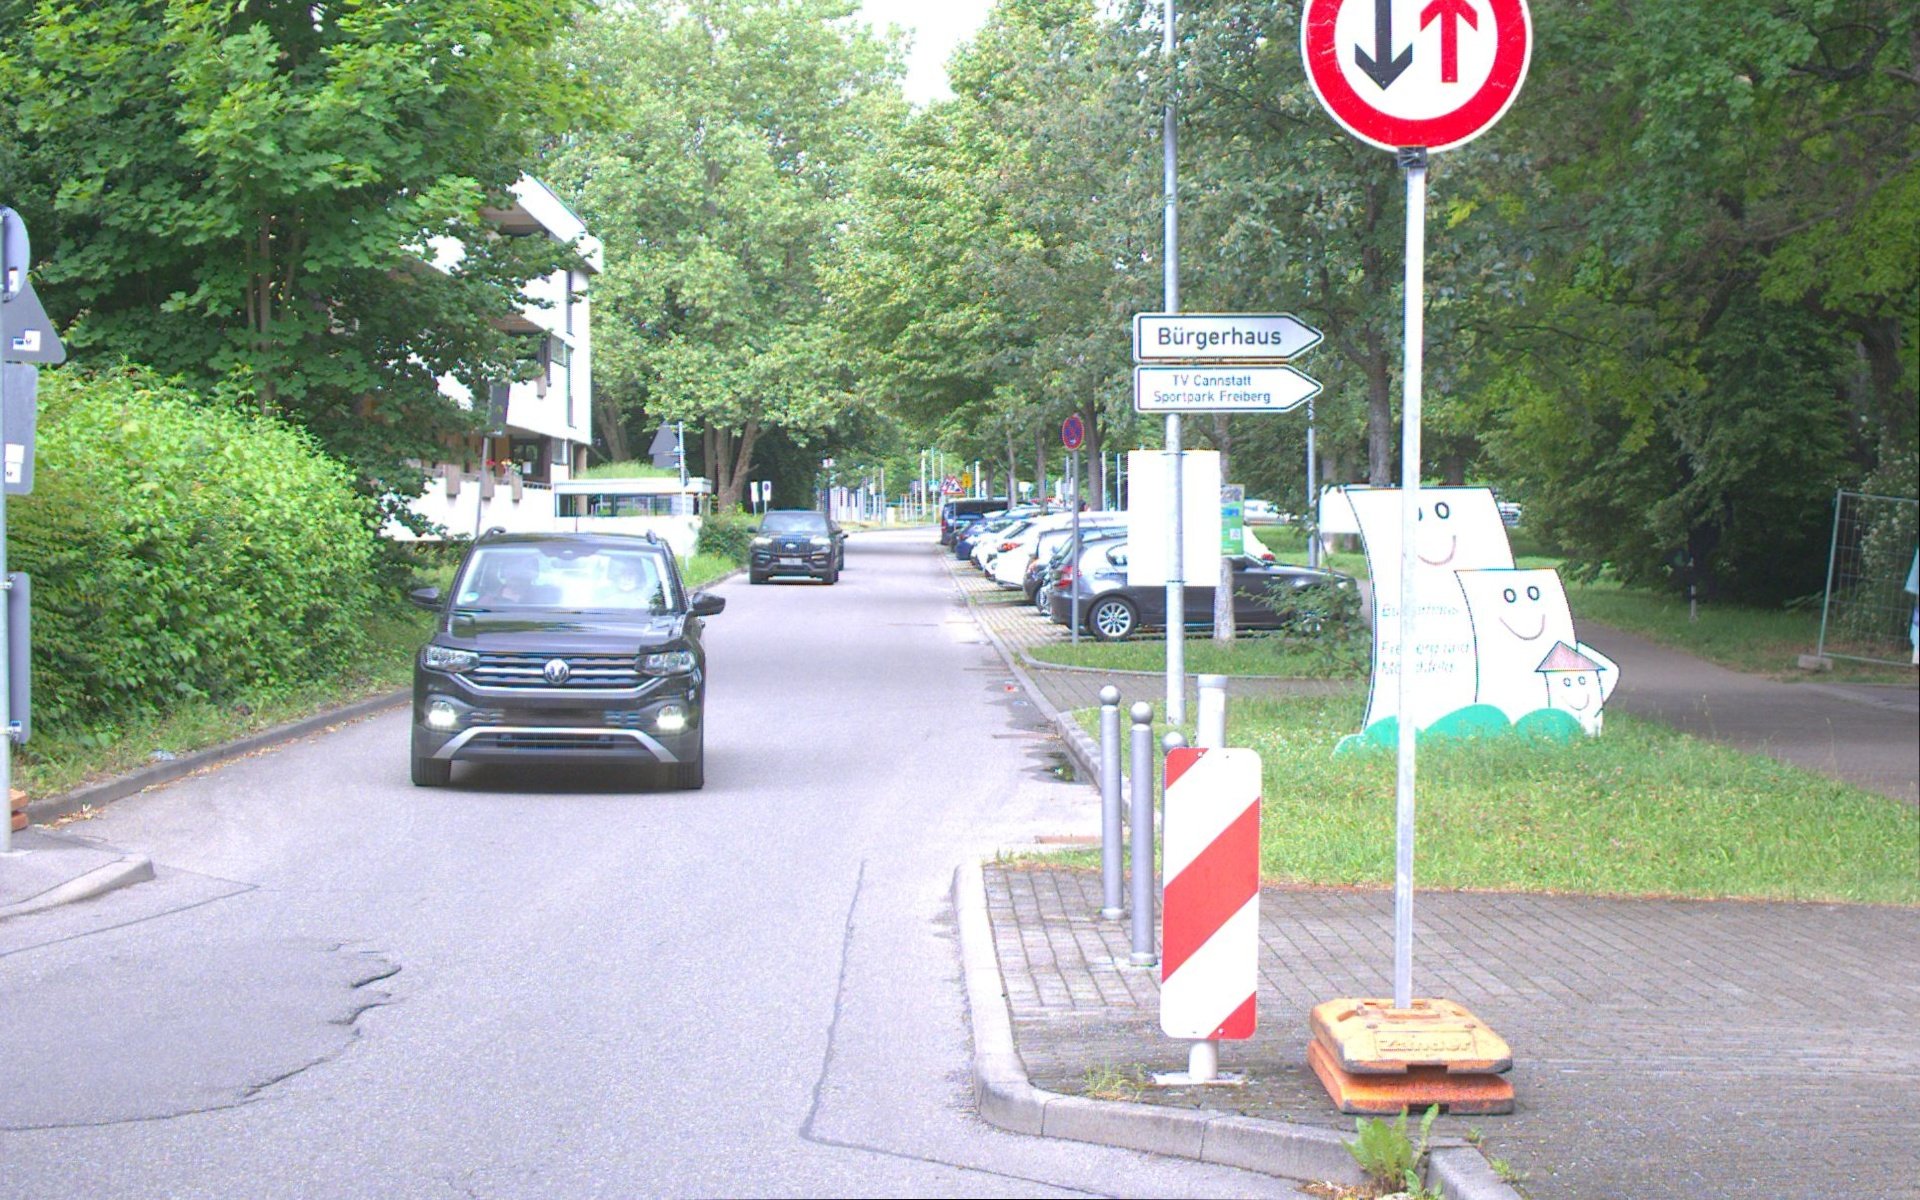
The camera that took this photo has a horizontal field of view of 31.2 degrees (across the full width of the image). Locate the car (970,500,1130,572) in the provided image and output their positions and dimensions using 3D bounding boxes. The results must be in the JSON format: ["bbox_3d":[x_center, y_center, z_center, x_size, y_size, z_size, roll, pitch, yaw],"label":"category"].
[{"bbox_3d":[2.414,-1.738,92.977,4.062,1.681,1.823,-4,1,-4],"label":"car"}]

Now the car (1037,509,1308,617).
[{"bbox_3d":[3.295,-0.598,53.881,4.063,1.563,1.823,-2,1,-1],"label":"car"}]

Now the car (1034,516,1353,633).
[{"bbox_3d":[3.094,-0.329,46.131,4.063,1.429,2.000,-2,0,-1],"label":"car"}]

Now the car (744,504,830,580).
[{"bbox_3d":[-4.085,-1.385,81.683,1.968,1.741,4.339,0,1,-2],"label":"car"}]

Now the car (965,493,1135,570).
[{"bbox_3d":[2.280,-1.751,87.394,4.062,1.681,1.823,-4,1,-4],"label":"car"}]

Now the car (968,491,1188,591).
[{"bbox_3d":[2.307,-1.177,67.714,4.062,1.681,1.823,-4,1,-4],"label":"car"}]

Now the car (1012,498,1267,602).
[{"bbox_3d":[3.039,-0.866,58.598,4.062,1.483,1.823,-4,2,-4],"label":"car"}]

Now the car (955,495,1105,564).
[{"bbox_3d":[1.994,-2.024,98.484,4.062,1.681,1.823,-4,1,-4],"label":"car"}]

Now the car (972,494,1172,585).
[{"bbox_3d":[2.400,-1.321,74.276,4.062,1.681,1.823,-4,1,-4],"label":"car"}]

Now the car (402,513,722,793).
[{"bbox_3d":[-2.453,0.252,21.649,1.803,1.586,4.297,0,1,-5],"label":"car"}]

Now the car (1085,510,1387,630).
[{"bbox_3d":[3.871,-0.410,48.697,4.063,1.563,1.822,-2,0,-1],"label":"car"}]

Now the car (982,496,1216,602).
[{"bbox_3d":[2.553,-0.960,63.808,4.062,1.681,1.823,-4,1,-4],"label":"car"}]
